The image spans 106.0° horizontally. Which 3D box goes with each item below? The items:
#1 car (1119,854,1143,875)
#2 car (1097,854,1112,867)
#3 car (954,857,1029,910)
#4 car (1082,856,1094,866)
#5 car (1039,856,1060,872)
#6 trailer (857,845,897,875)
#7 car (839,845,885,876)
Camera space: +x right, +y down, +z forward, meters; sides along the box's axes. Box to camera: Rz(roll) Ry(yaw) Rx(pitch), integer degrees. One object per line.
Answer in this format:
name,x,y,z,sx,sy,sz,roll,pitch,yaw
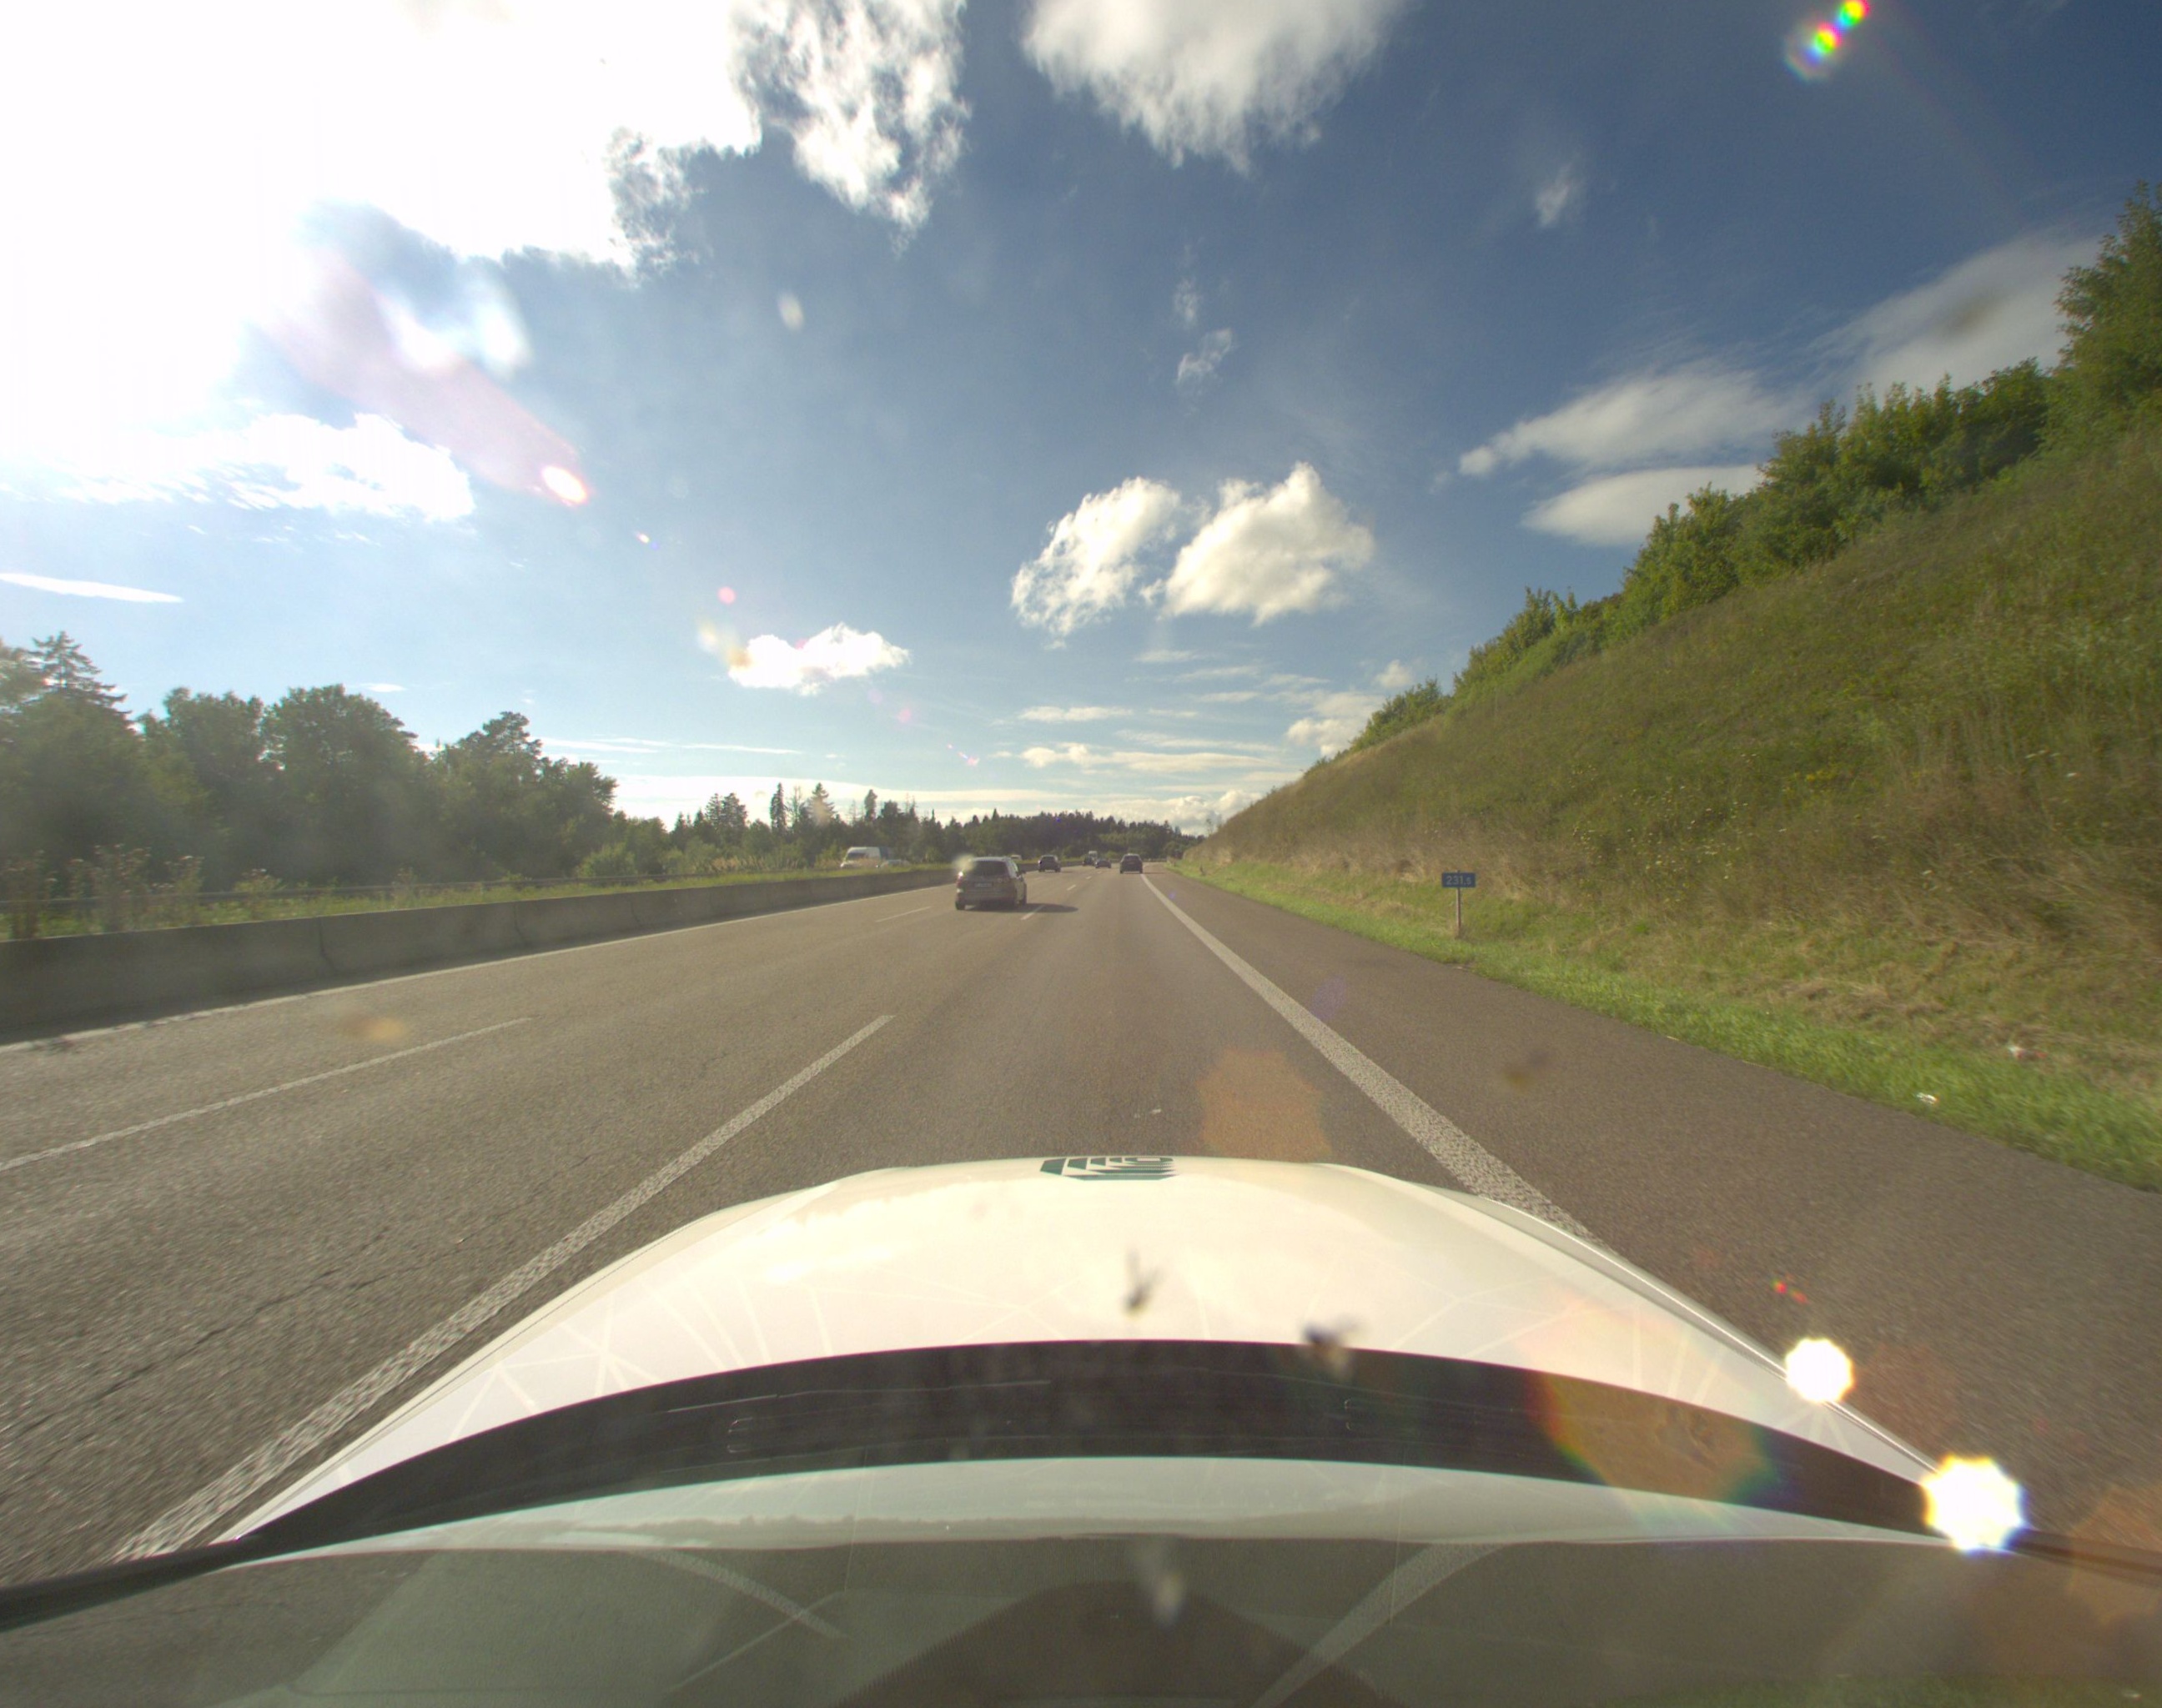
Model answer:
car,4.260,0.870,69.305,1.867,1.675,3.890,-1,0,1
car,2.993,0.825,103.766,1.866,1.497,3.882,-1,0,2
car,-2.684,0.857,25.297,1.867,1.497,3.879,-1,0,0
car,1.138,1.101,128.830,1.866,1.497,3.881,-1,0,2
car,-3.077,0.922,79.425,1.867,1.497,3.879,-1,0,0
trailer,-19.237,0.560,77.007,2.261,2.683,5.564,-1,0,2
car,-19.383,0.557,72.328,2.261,2.683,5.891,-1,0,2
